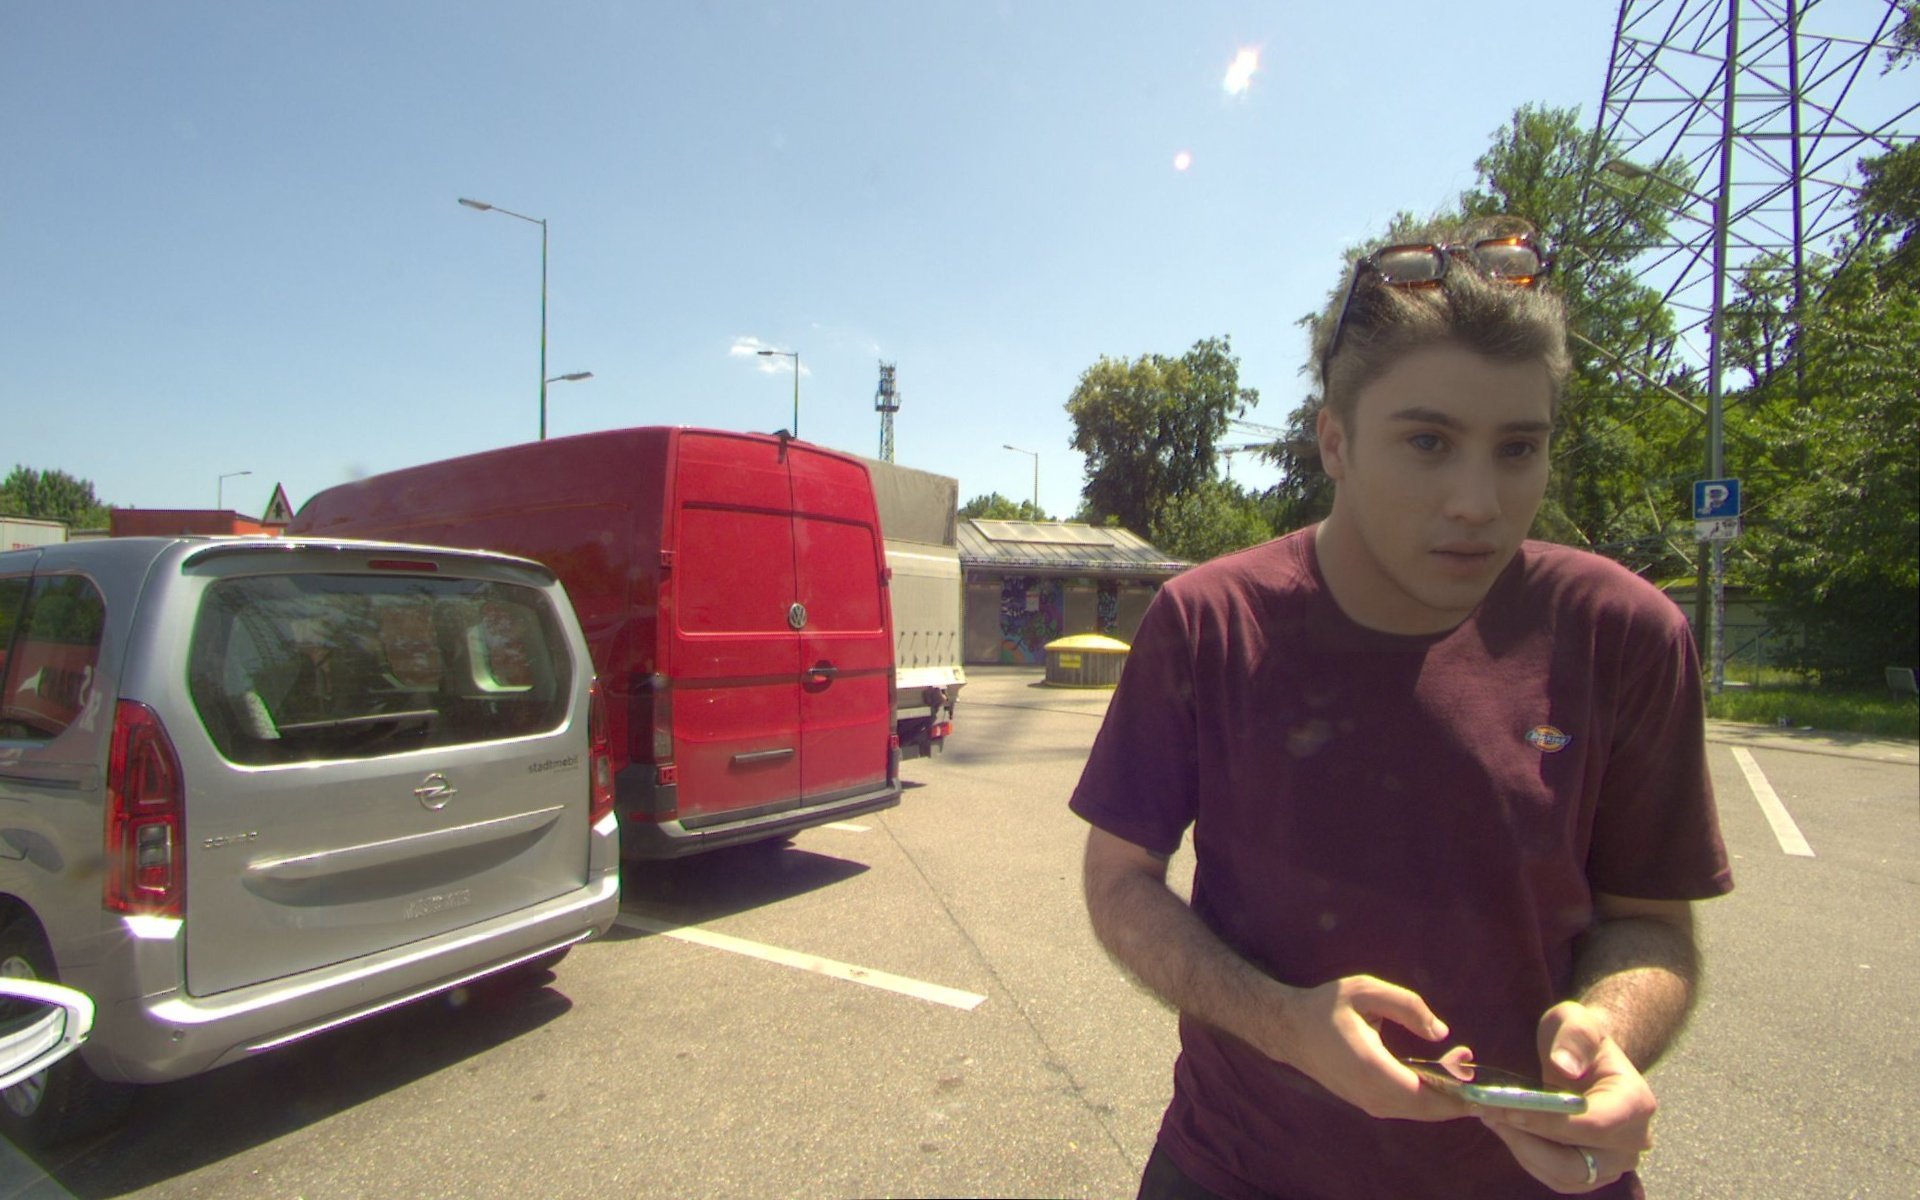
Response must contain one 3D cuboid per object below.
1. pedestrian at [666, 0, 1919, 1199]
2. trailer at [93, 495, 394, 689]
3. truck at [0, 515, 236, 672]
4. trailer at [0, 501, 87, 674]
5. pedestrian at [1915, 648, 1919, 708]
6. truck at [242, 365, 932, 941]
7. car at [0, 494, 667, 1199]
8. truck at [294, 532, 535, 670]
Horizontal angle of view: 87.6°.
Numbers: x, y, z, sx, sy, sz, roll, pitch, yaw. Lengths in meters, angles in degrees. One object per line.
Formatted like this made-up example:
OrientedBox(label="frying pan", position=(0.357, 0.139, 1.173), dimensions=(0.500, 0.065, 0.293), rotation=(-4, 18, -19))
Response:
OrientedBox(label="pedestrian", position=(0.383, 0.484, 0.879), dimensions=(0.926, 1.798, 0.827), rotation=(1, -1, 28))
OrientedBox(label="trailer", position=(-18.536, -0.082, 26.838), dimensions=(2.789, 4.313, 8.682), rotation=(1, -1, -8))
OrientedBox(label="truck", position=(-27.999, -0.119, 31.783), dimensions=(14.316, 4.175, 2.901), rotation=(0, -3, 33))
OrientedBox(label="trailer", position=(-28.804, -0.317, 28.030), dimensions=(13.374, 4.178, 2.871), rotation=(0, -1, 33))
OrientedBox(label="pedestrian", position=(17.299, 1.373, 17.443), dimensions=(0.797, 1.062, 0.712), rotation=(0, -1, 30))
OrientedBox(label="truck", position=(-2.868, 0.269, 6.999), dimensions=(5.233, 2.658, 1.987), rotation=(0, -1, 37))
OrientedBox(label="car", position=(-3.354, 0.643, 4.214), dimensions=(3.938, 1.776, 1.824), rotation=(0, -1, 29))
OrientedBox(label="truck", position=(-19.021, 0.150, 36.102), dimensions=(2.641, 4.181, 10.608), rotation=(1, -1, 1))
